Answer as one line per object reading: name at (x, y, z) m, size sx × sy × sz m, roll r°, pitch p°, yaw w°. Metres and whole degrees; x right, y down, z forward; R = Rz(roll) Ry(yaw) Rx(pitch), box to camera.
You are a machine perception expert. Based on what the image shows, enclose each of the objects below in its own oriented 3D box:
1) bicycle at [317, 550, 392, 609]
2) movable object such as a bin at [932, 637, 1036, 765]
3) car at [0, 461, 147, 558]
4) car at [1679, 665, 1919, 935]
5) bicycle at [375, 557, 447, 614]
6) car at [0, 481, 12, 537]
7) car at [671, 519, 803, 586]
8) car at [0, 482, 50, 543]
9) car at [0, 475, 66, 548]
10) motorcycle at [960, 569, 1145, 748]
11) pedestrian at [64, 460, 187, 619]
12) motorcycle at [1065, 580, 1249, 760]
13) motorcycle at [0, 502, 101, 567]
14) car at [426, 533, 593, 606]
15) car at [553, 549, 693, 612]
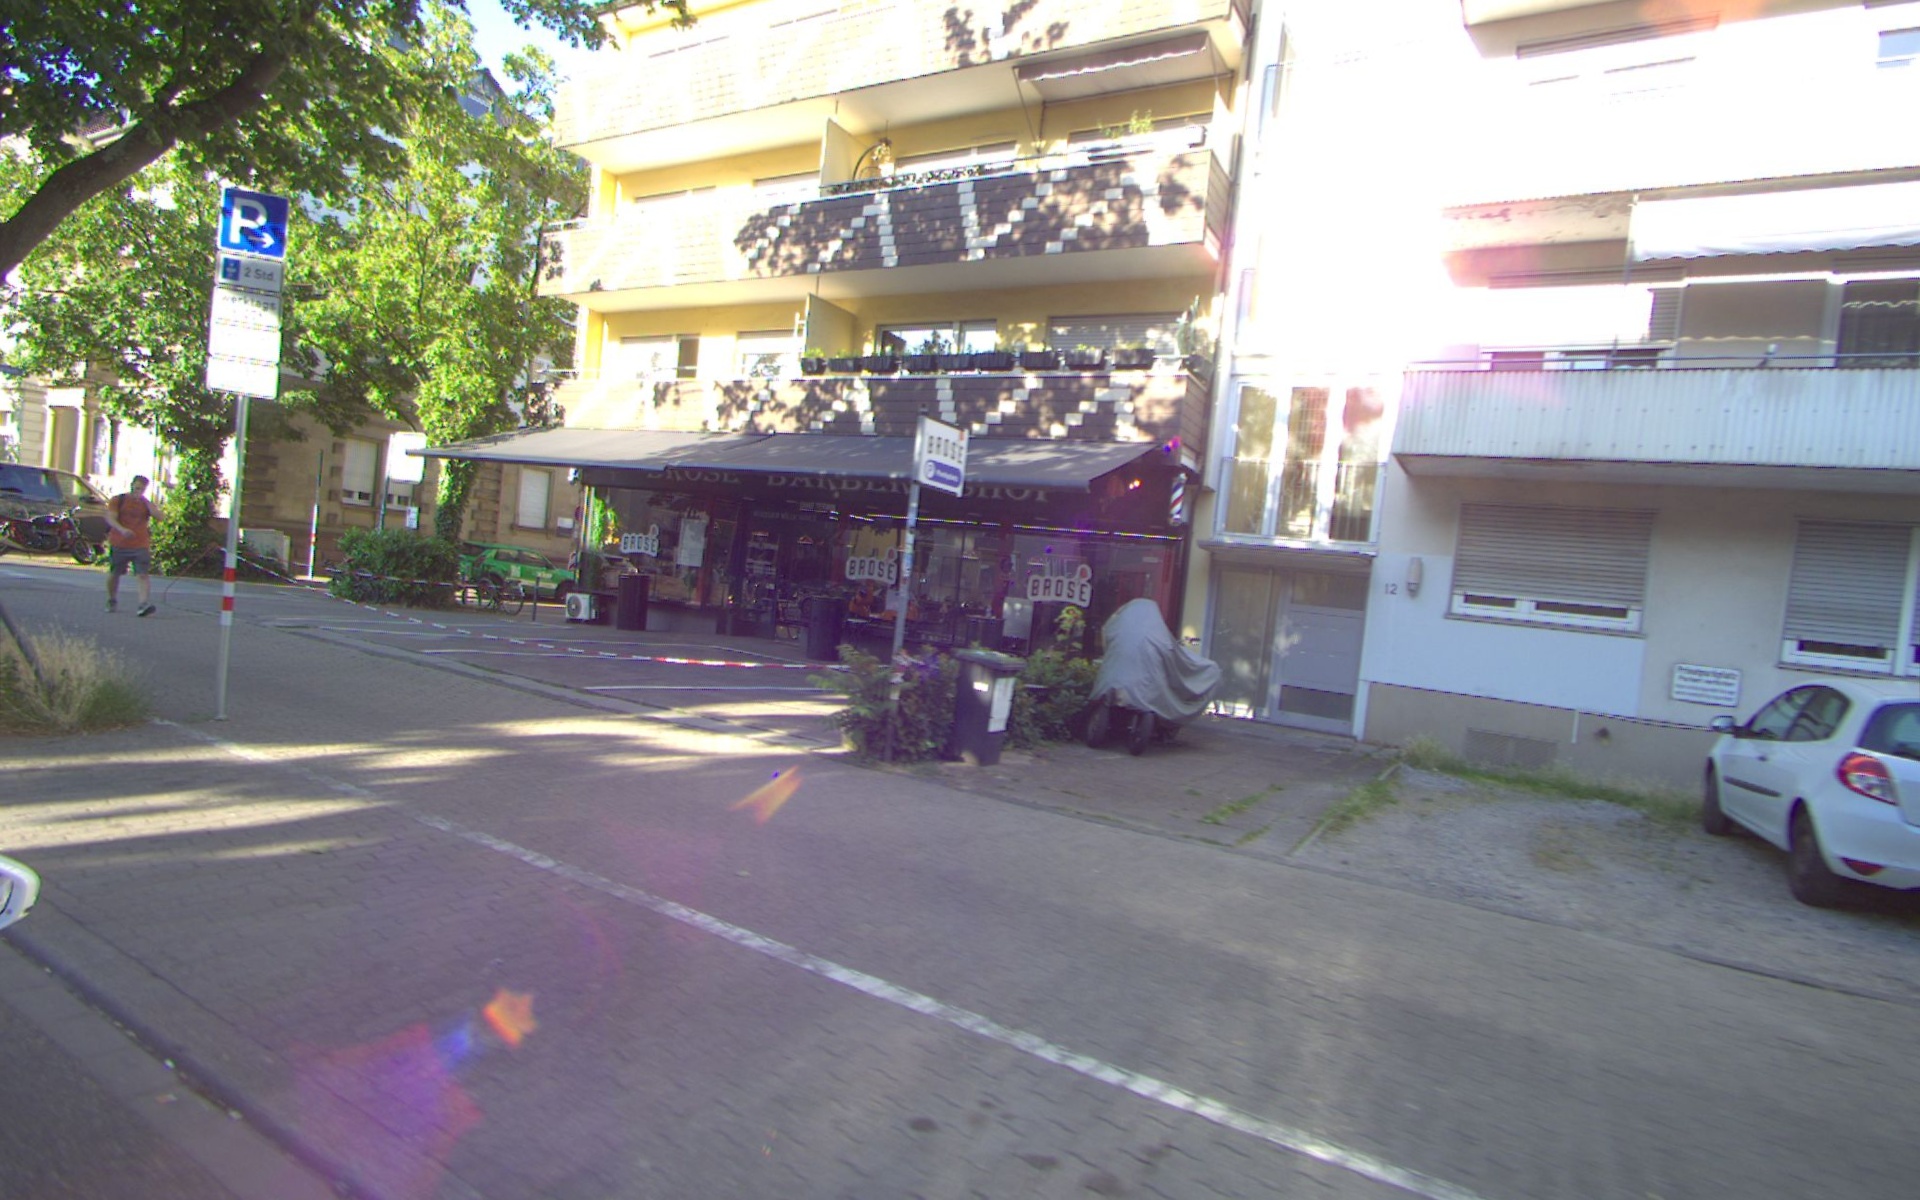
bicycle at (-11.645, -0.399, 19.337) m, size 1.554 × 0.961 × 0.343 m, roll 6°, pitch -1°, yaw 26°
movable object such as a bin at (0.206, 0.828, 8.418) m, size 0.530 × 0.961 × 0.613 m, roll 7°, pitch 2°, yaw 32°
car at (-21.299, -2.100, 22.698) m, size 1.878 × 1.917 × 4.547 m, roll 7°, pitch 1°, yaw 4°
car at (6.898, 1.360, 7.494) m, size 1.793 × 1.480 × 3.994 m, roll 7°, pitch 1°, yaw 27°
bicycle at (-10.761, -0.295, 19.706) m, size 1.554 × 0.963 × 0.342 m, roll 7°, pitch 4°, yaw 26°
car at (-28.082, -2.677, 26.881) m, size 1.483 × 1.544 × 3.813 m, roll 7°, pitch 1°, yaw 9°
car at (-6.165, -1.290, 28.151) m, size 1.633 × 1.436 × 3.349 m, roll 7°, pitch 1°, yaw 31°
car at (-26.204, -2.442, 25.980) m, size 1.483 × 1.544 × 3.813 m, roll 7°, pitch 1°, yaw 9°
car at (-24.187, -2.289, 24.346) m, size 1.483 × 1.700 × 3.811 m, roll 7°, pitch 1°, yaw 2°
motorcycle at (1.031, 0.619, 10.544) m, size 0.720 × 1.642 × 2.193 m, roll 8°, pitch 1°, yaw 37°
pedestrian at (-10.294, -0.735, 12.417) m, size 0.890 × 1.819 × 0.757 m, roll 7°, pitch 2°, yaw 26°
motorcycle at (2.138, 0.731, 10.656) m, size 0.876 × 1.642 × 2.193 m, roll 8°, pitch 1°, yaw 37°
motorcycle at (-18.722, -1.335, 20.268) m, size 0.516 × 1.139 × 2.055 m, roll 7°, pitch 1°, yaw 26°
car at (-12.949, -0.841, 29.102) m, size 1.897 × 1.605 × 3.921 m, roll 7°, pitch 1°, yaw 31°
car at (-10.959, -0.596, 32.957) m, size 1.897 × 1.605 × 3.921 m, roll 7°, pitch 1°, yaw 31°
